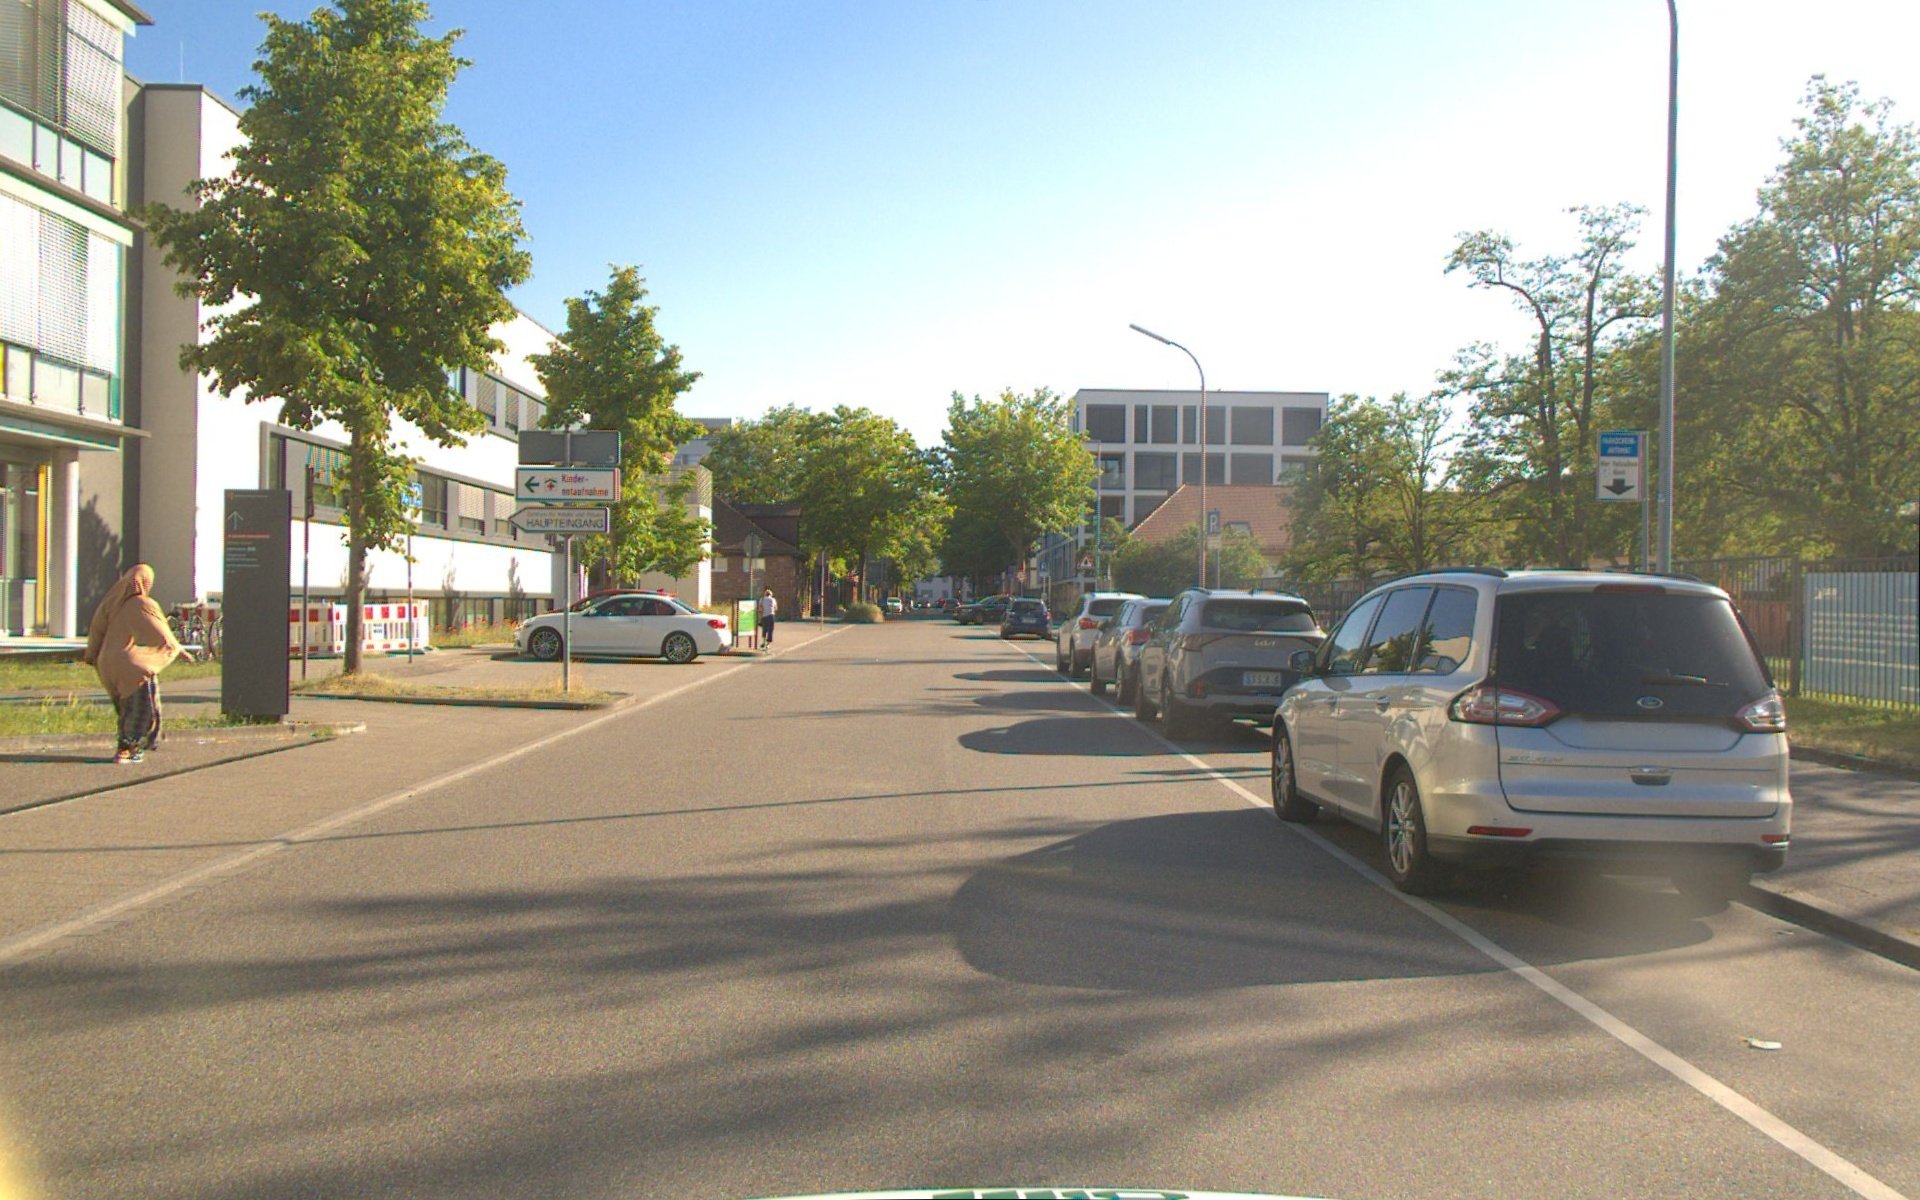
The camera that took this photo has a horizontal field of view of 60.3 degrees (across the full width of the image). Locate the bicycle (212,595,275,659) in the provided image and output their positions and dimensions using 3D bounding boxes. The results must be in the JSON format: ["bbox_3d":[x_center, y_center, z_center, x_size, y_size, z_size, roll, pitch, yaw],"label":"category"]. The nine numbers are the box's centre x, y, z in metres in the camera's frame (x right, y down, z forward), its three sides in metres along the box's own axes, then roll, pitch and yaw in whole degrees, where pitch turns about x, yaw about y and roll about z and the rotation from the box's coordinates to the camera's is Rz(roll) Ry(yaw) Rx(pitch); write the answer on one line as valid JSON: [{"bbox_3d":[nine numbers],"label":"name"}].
[{"bbox_3d":[-13.234,0.490,30.587,0.411,1.143,1.764,0,0,0],"label":"bicycle"}]

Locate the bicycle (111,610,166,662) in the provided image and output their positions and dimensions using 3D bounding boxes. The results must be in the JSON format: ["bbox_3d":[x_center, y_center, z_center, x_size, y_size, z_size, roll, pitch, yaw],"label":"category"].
[{"bbox_3d":[-14.562,0.626,29.337,0.249,0.888,1.451,0,0,0],"label":"bicycle"}]

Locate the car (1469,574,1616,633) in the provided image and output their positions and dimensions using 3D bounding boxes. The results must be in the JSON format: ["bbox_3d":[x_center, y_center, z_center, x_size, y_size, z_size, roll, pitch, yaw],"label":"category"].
[{"bbox_3d":[23.138,0.122,65.843,5.173,2.240,2.001,1,1,5],"label":"car"}]

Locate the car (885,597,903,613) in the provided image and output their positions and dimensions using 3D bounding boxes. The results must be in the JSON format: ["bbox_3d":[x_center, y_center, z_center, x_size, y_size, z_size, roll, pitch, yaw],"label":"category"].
[{"bbox_3d":[-6.421,0.465,161.485,1.731,1.513,3.998,0,0,-2],"label":"car"}]

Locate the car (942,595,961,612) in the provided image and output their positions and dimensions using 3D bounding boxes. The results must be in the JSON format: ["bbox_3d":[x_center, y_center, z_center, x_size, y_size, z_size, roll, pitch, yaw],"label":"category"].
[{"bbox_3d":[-0.850,0.335,162.290,1.731,1.575,4.064,0,0,-2],"label":"car"}]

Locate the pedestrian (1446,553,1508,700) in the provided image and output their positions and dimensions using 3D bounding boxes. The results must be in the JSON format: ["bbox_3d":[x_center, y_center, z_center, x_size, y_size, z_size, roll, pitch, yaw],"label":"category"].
[{"bbox_3d":[6.251,0.323,20.024,0.511,1.738,0.522,2,-1,-3],"label":"pedestrian"}]

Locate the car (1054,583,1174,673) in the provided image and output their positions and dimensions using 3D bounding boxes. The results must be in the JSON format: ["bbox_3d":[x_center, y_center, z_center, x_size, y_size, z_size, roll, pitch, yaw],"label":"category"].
[{"bbox_3d":[2.992,0.508,32.932,1.777,1.616,4.260,2,0,-3],"label":"car"}]

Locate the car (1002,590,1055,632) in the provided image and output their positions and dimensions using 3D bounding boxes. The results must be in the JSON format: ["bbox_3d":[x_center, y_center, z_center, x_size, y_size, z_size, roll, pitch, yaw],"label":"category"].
[{"bbox_3d":[2.467,0.375,60.680,1.780,1.478,4.214,0,0,0],"label":"car"}]

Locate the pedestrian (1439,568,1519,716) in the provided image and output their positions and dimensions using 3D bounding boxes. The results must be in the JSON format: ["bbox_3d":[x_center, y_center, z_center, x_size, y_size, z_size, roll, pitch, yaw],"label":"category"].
[{"bbox_3d":[5.905,0.473,18.831,0.668,1.640,0.540,2,-1,-6],"label":"pedestrian"}]

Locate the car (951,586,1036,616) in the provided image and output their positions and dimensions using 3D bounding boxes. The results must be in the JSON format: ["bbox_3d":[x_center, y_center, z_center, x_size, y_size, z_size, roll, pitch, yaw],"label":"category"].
[{"bbox_3d":[1.716,0.042,83.218,1.736,1.467,4.509,0,0,42],"label":"car"}]

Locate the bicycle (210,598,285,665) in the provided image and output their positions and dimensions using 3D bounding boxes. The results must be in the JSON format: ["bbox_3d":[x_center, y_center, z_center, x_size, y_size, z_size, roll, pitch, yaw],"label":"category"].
[{"bbox_3d":[-12.635,0.539,29.382,0.523,1.131,1.861,0,0,0],"label":"bicycle"}]

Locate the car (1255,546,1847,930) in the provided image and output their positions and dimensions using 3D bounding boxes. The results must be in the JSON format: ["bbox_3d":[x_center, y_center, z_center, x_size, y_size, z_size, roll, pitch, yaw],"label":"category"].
[{"bbox_3d":[3.215,0.638,10.152,1.772,1.752,4.702,2,0,-2],"label":"car"}]

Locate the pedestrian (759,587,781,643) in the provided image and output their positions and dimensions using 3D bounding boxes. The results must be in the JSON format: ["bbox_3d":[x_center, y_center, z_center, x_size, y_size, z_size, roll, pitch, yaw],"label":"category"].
[{"bbox_3d":[-5.284,0.410,45.928,0.527,1.550,0.607,0,0,0],"label":"pedestrian"}]

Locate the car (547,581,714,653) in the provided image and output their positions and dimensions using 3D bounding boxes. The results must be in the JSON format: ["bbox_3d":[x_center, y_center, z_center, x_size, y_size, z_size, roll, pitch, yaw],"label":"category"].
[{"bbox_3d":[-7.554,0.379,38.197,3.563,1.494,1.613,2,1,-4],"label":"car"}]

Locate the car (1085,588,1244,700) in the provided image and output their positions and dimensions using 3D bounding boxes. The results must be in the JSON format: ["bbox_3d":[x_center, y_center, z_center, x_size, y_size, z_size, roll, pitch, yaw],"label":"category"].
[{"bbox_3d":[3.026,0.610,25.217,1.667,1.513,3.978,2,0,-4],"label":"car"}]

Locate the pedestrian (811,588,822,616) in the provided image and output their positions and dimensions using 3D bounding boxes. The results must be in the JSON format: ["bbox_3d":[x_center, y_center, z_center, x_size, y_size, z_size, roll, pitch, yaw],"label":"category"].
[{"bbox_3d":[-8.119,0.099,93.649,0.511,1.590,1.095,1,0,-2],"label":"pedestrian"}]

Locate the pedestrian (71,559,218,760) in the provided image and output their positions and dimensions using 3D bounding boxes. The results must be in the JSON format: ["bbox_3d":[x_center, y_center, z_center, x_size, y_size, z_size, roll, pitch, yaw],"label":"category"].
[{"bbox_3d":[-6.697,0.477,13.612,0.757,1.576,0.780,2,-1,-1],"label":"pedestrian"}]

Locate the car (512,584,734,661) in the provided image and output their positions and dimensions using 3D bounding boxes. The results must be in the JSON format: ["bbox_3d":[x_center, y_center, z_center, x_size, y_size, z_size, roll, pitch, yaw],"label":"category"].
[{"bbox_3d":[-7.105,0.471,35.232,4.425,1.391,1.698,3,0,-6],"label":"car"}]

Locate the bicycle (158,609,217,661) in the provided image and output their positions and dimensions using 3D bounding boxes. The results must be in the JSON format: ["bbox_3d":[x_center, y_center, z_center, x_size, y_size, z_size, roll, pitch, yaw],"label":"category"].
[{"bbox_3d":[-13.634,0.614,29.234,0.361,0.878,1.451,0,0,0],"label":"bicycle"}]

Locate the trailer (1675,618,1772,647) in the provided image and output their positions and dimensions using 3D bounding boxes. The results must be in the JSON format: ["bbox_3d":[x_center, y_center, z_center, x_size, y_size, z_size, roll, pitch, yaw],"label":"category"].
[{"bbox_3d":[28.662,1.191,62.270,1.857,0.936,5.113,1,0,7],"label":"trailer"}]

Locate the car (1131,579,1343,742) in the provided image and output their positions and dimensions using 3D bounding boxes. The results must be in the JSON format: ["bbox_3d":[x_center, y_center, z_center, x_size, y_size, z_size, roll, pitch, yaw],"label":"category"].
[{"bbox_3d":[3.104,0.615,19.358,1.666,1.634,4.352,2,0,-1],"label":"car"}]
